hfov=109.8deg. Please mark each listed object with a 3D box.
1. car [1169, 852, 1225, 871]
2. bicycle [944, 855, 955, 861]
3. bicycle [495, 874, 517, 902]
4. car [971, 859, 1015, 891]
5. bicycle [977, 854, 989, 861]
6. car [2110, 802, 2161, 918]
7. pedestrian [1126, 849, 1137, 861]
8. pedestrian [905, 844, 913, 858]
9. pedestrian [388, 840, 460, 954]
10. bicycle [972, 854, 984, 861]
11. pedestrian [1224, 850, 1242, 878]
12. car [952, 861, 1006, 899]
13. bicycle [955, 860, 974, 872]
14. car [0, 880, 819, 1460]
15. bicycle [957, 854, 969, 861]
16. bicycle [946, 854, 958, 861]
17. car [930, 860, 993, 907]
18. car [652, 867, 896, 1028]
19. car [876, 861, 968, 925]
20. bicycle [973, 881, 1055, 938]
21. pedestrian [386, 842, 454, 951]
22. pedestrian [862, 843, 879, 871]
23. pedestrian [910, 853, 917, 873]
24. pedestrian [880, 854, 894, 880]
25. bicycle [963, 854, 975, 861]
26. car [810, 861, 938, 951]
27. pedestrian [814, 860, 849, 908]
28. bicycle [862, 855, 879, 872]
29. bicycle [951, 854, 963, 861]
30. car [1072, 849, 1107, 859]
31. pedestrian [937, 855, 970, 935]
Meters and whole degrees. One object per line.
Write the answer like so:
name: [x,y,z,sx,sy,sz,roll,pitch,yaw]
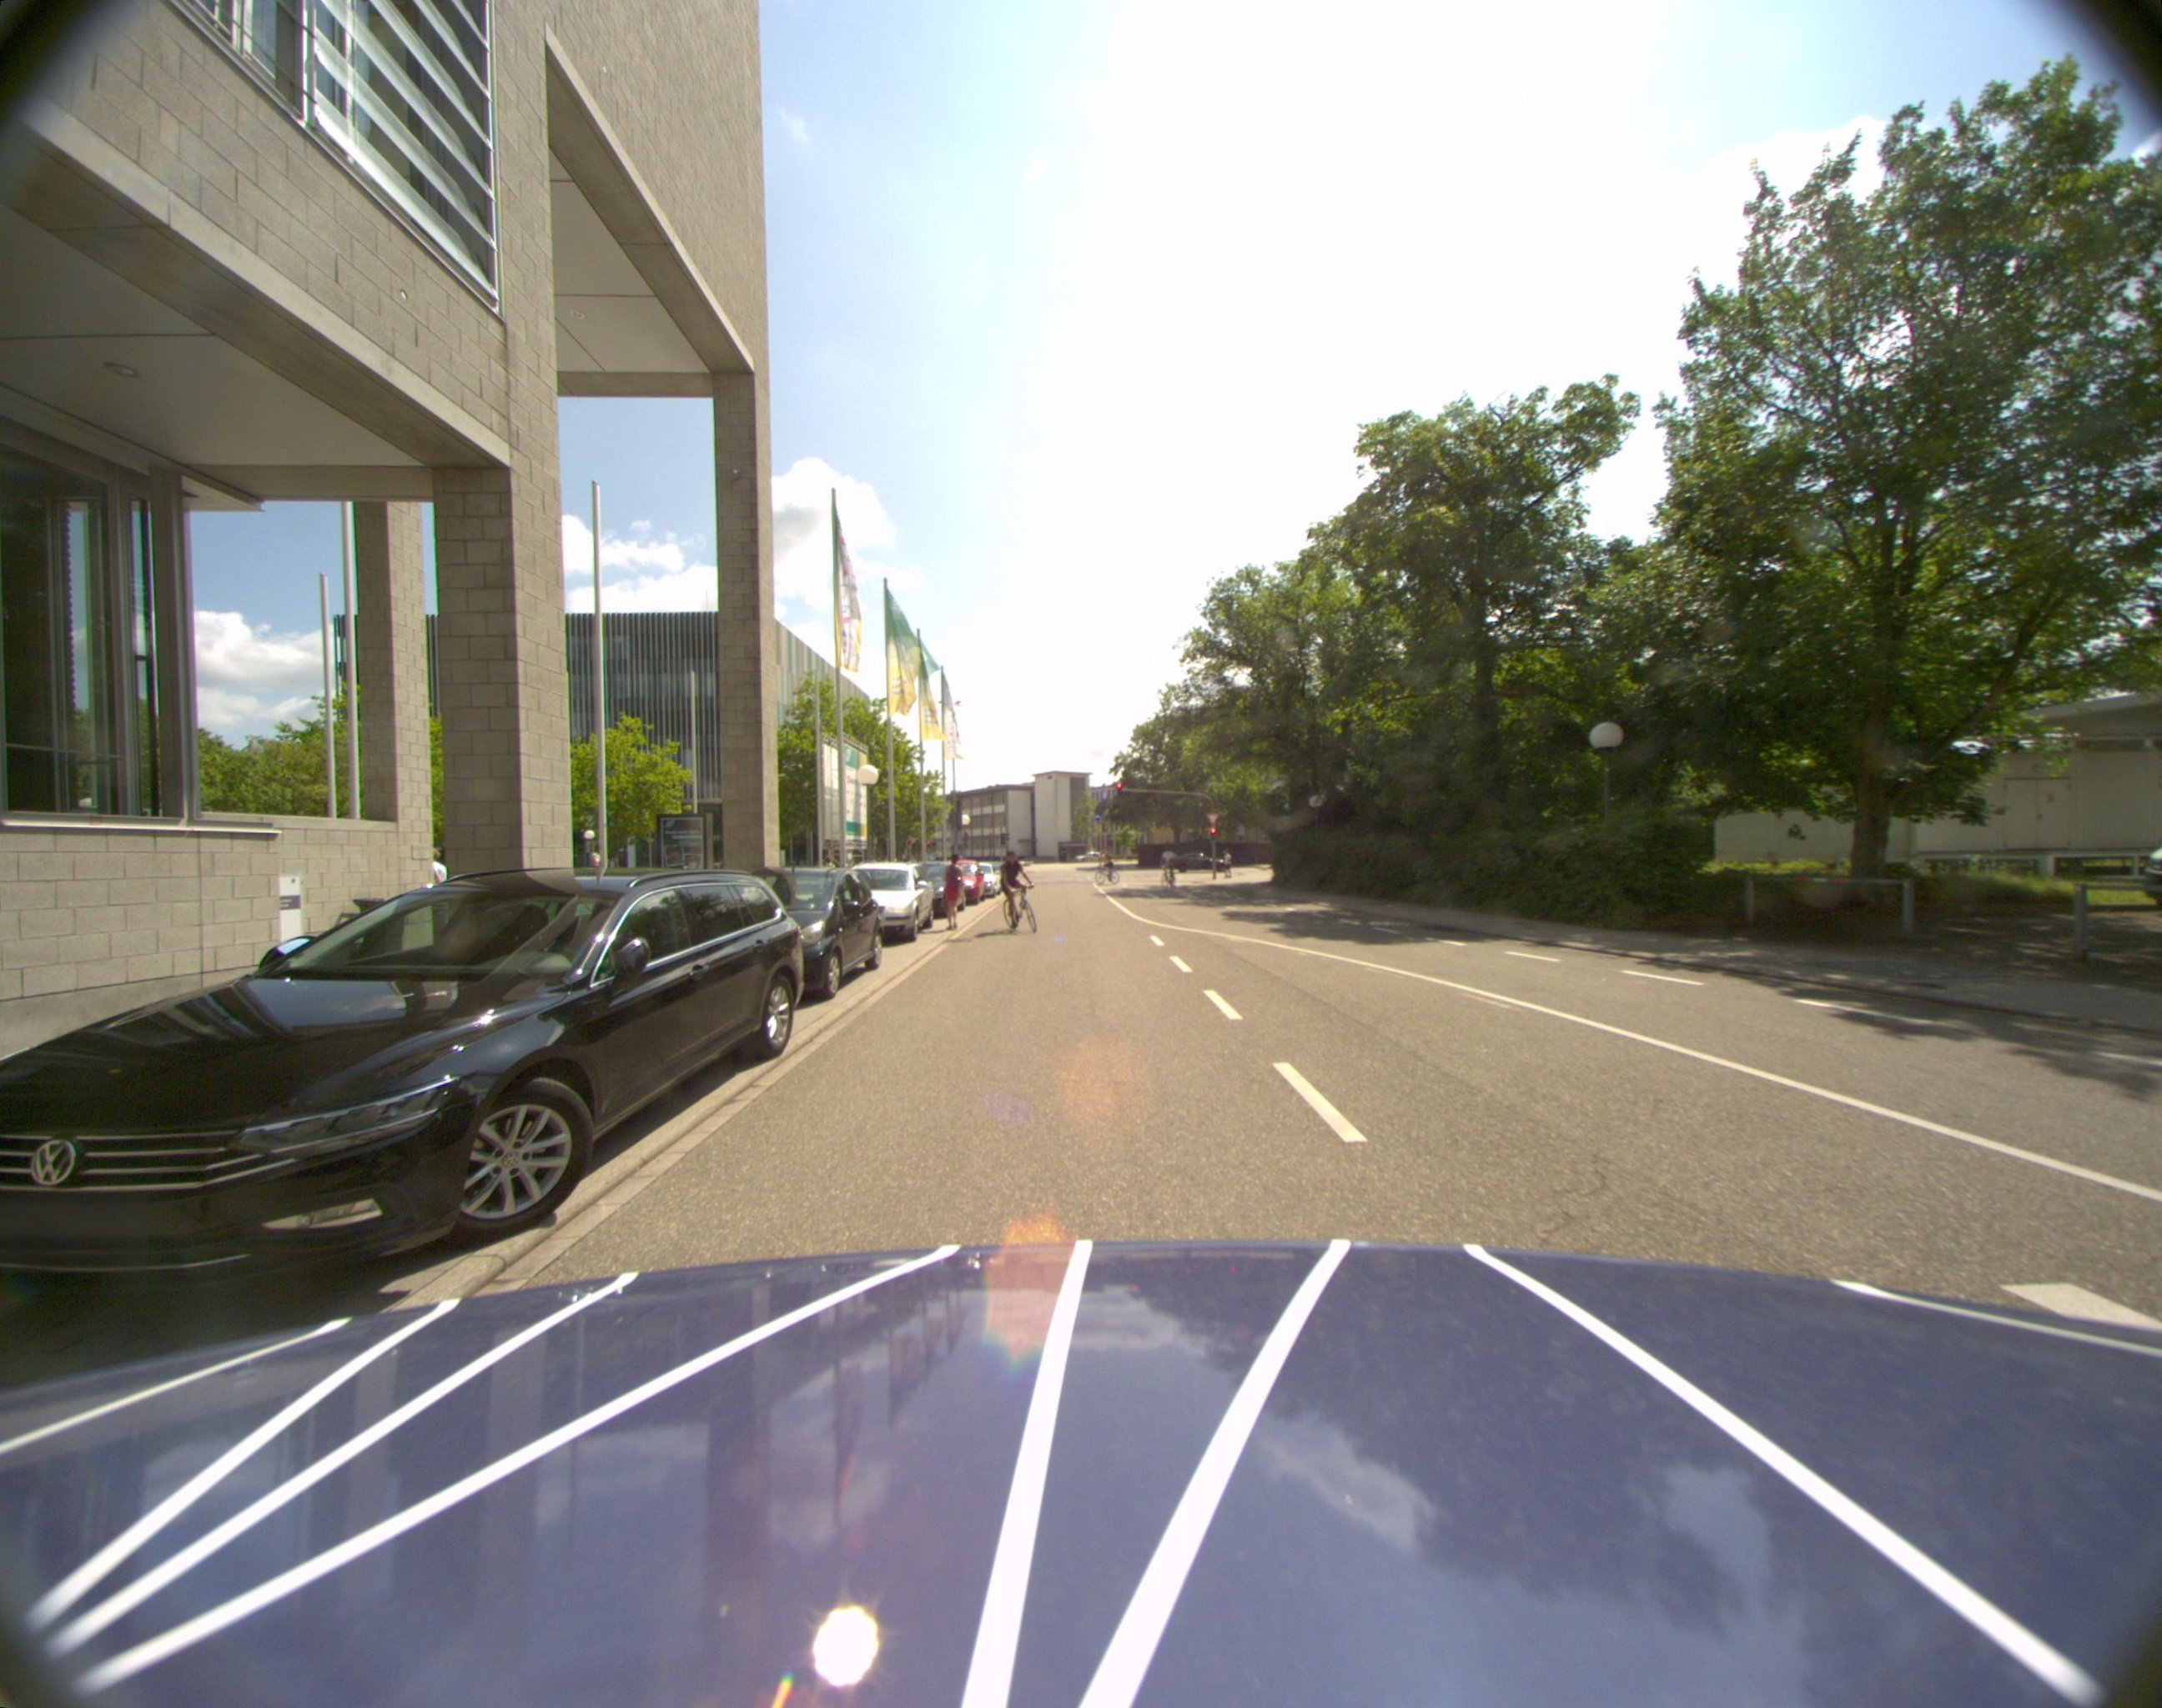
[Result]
car: [8.897,0.588,58.501,4.186,1.407,1.831,0,0,5]
bicycle: [-21.532,0.582,124.273,1.776,0.950,0.527,-1,3,-30]
bicycle: [-25.844,1.512,34.151,0.605,1.093,1.763,-2,3,-32]
car: [-4.308,0.994,37.688,1.723,1.392,4.947,1,0,-2]
bicycle: [-14.728,0.483,114.550,1.776,0.950,0.527,-1,3,-30]
car: [20.820,0.055,12.533,4.933,1.975,1.999,-1,2,0]
pedestrian: [7.050,0.107,105.984,1.297,1.641,1.327,-1,1,11]
pedestrian: [-21.833,-0.379,96.452,0.676,1.779,0.844,-1,1,16]
pedestrian: [-11.490,0.727,13.314,0.786,1.914,0.733,-2,1,-31]
bicycle: [-15.667,0.492,115.351,1.776,0.950,0.527,-1,3,-30]
pedestrian: [9.608,0.634,48.103,0.930,1.690,0.854,-1,0,1]
car: [-4.183,1.037,31.760,1.723,1.392,4.437,1,0,-2]
bicycle: [-11.348,1.204,74.124,1.673,1.118,0.694,-2,1,-26]
car: [-3.189,0.985,4.407,1.871,1.456,4.519,-1,0,-2]
bicycle: [-18.539,0.530,119.170,1.776,0.950,0.527,-1,3,-30]
bicycle: [-20.809,0.565,122.478,1.776,0.950,0.527,-1,3,-30]
car: [-4.148,0.998,27.008,1.618,1.488,4.146,1,0,-1]
car: [-3.570,0.970,9.645,1.619,1.488,4.005,-1,0,-3]
car: [-4.245,0.981,20.843,1.723,1.520,3.999,-1,0,-1]
bicycle: [-1.493,1.174,16.523,0.905,1.072,2.149,-1,0,-31]
pedestrian: [-12.002,0.746,13.826,0.787,1.914,0.592,-2,1,-30]
pedestrian: [-14.206,0.188,51.277,0.856,1.808,1.176,2,-3,-5]
pedestrian: [-15.723,0.811,71.172,0.576,1.831,0.415,-2,2,-17]
pedestrian: [-13.132,0.876,51.458,0.594,1.789,0.612,-2,-1,23]
bicycle: [-17.210,0.540,117.107,1.776,0.950,0.527,-1,3,-30]
car: [-4.031,0.933,15.534,1.724,1.520,4.564,1,0,-5]
pedestrian: [-9.247,1.093,28.184,0.920,1.730,1.001,-1,1,-2]
bicycle: [-14.201,0.649,51.324,0.818,1.066,1.891,0,-3,-5]
bicycle: [-19.692,0.536,121.027,1.776,0.950,0.527,-1,3,-30]
car: [1.144,-0.008,105.757,4.501,1.299,1.994,-2,3,-33]
pedestrian: [-2.800,0.876,16.750,0.624,1.707,1.040,-1,1,-5]
